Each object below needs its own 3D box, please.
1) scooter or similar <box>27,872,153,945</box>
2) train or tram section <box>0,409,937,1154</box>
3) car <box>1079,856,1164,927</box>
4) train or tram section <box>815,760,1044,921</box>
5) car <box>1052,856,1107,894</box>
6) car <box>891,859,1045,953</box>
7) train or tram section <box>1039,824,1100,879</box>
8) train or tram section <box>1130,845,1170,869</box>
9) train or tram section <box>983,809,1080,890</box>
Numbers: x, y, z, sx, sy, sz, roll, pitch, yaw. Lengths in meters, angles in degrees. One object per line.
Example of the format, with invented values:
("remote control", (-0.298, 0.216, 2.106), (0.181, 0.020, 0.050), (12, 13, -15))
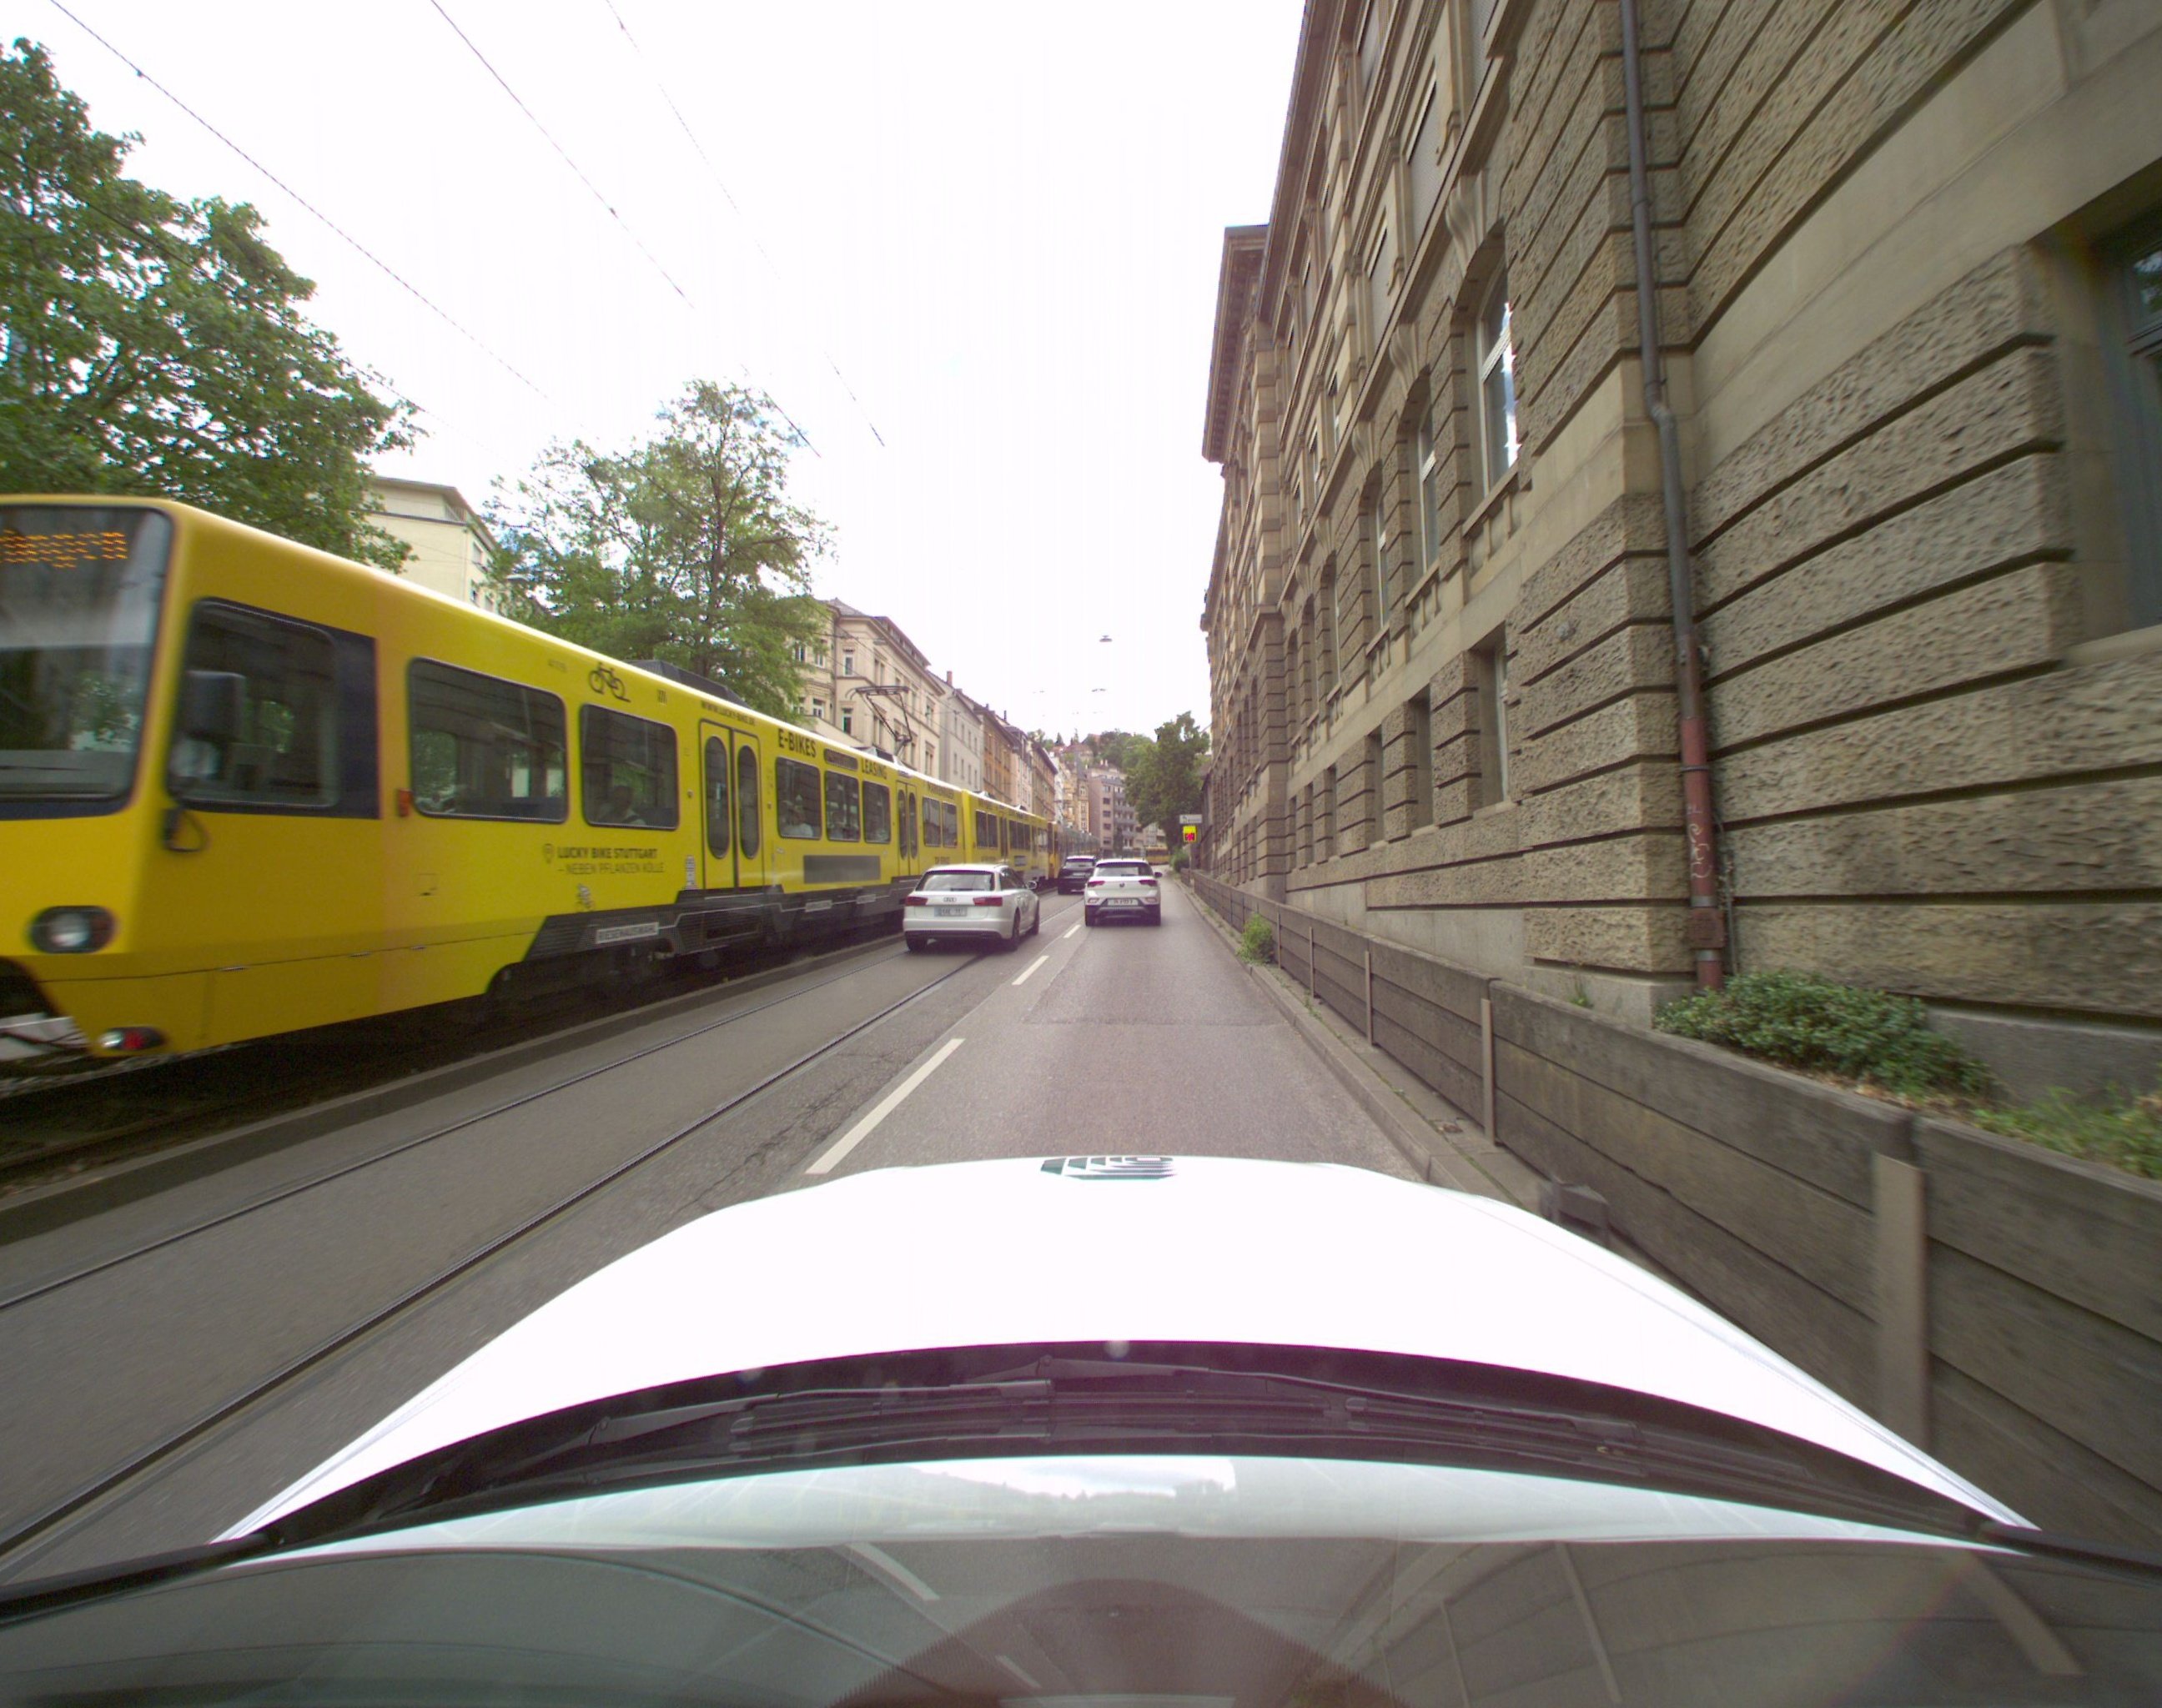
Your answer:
("scooter or similar", (-17.470, 0.931, 14.412), (0.490, 1.219, 1.633), (2, -2, -15))
("train or tram section", (-5.364, -0.341, 11.563), (2.869, 3.726, 14.872), (1, 0, 4))
("car", (1.086, 0.846, 20.110), (1.870, 1.554, 4.006), (-1, 0, 5))
("train or tram section", (-3.977, -0.255, 28.343), (2.863, 3.726, 18.727), (1, 0, 5))
("car", (0.014, 0.890, 36.255), (2.028, 1.571, 4.364), (-1, 0, 5))
("car", (-1.864, 0.828, 14.953), (1.870, 1.455, 4.622), (0, 0, 4))
("train or tram section", (-0.598, -0.104, 65.766), (2.862, 3.726, 18.782), (1, 0, 5))
("train or tram section", (13.242, 0.533, 153.508), (2.992, 4.214, 18.947), (-1, 0, 18))
("train or tram section", (-2.304, -0.160, 47.057), (2.863, 3.726, 18.781), (1, 0, 5))
